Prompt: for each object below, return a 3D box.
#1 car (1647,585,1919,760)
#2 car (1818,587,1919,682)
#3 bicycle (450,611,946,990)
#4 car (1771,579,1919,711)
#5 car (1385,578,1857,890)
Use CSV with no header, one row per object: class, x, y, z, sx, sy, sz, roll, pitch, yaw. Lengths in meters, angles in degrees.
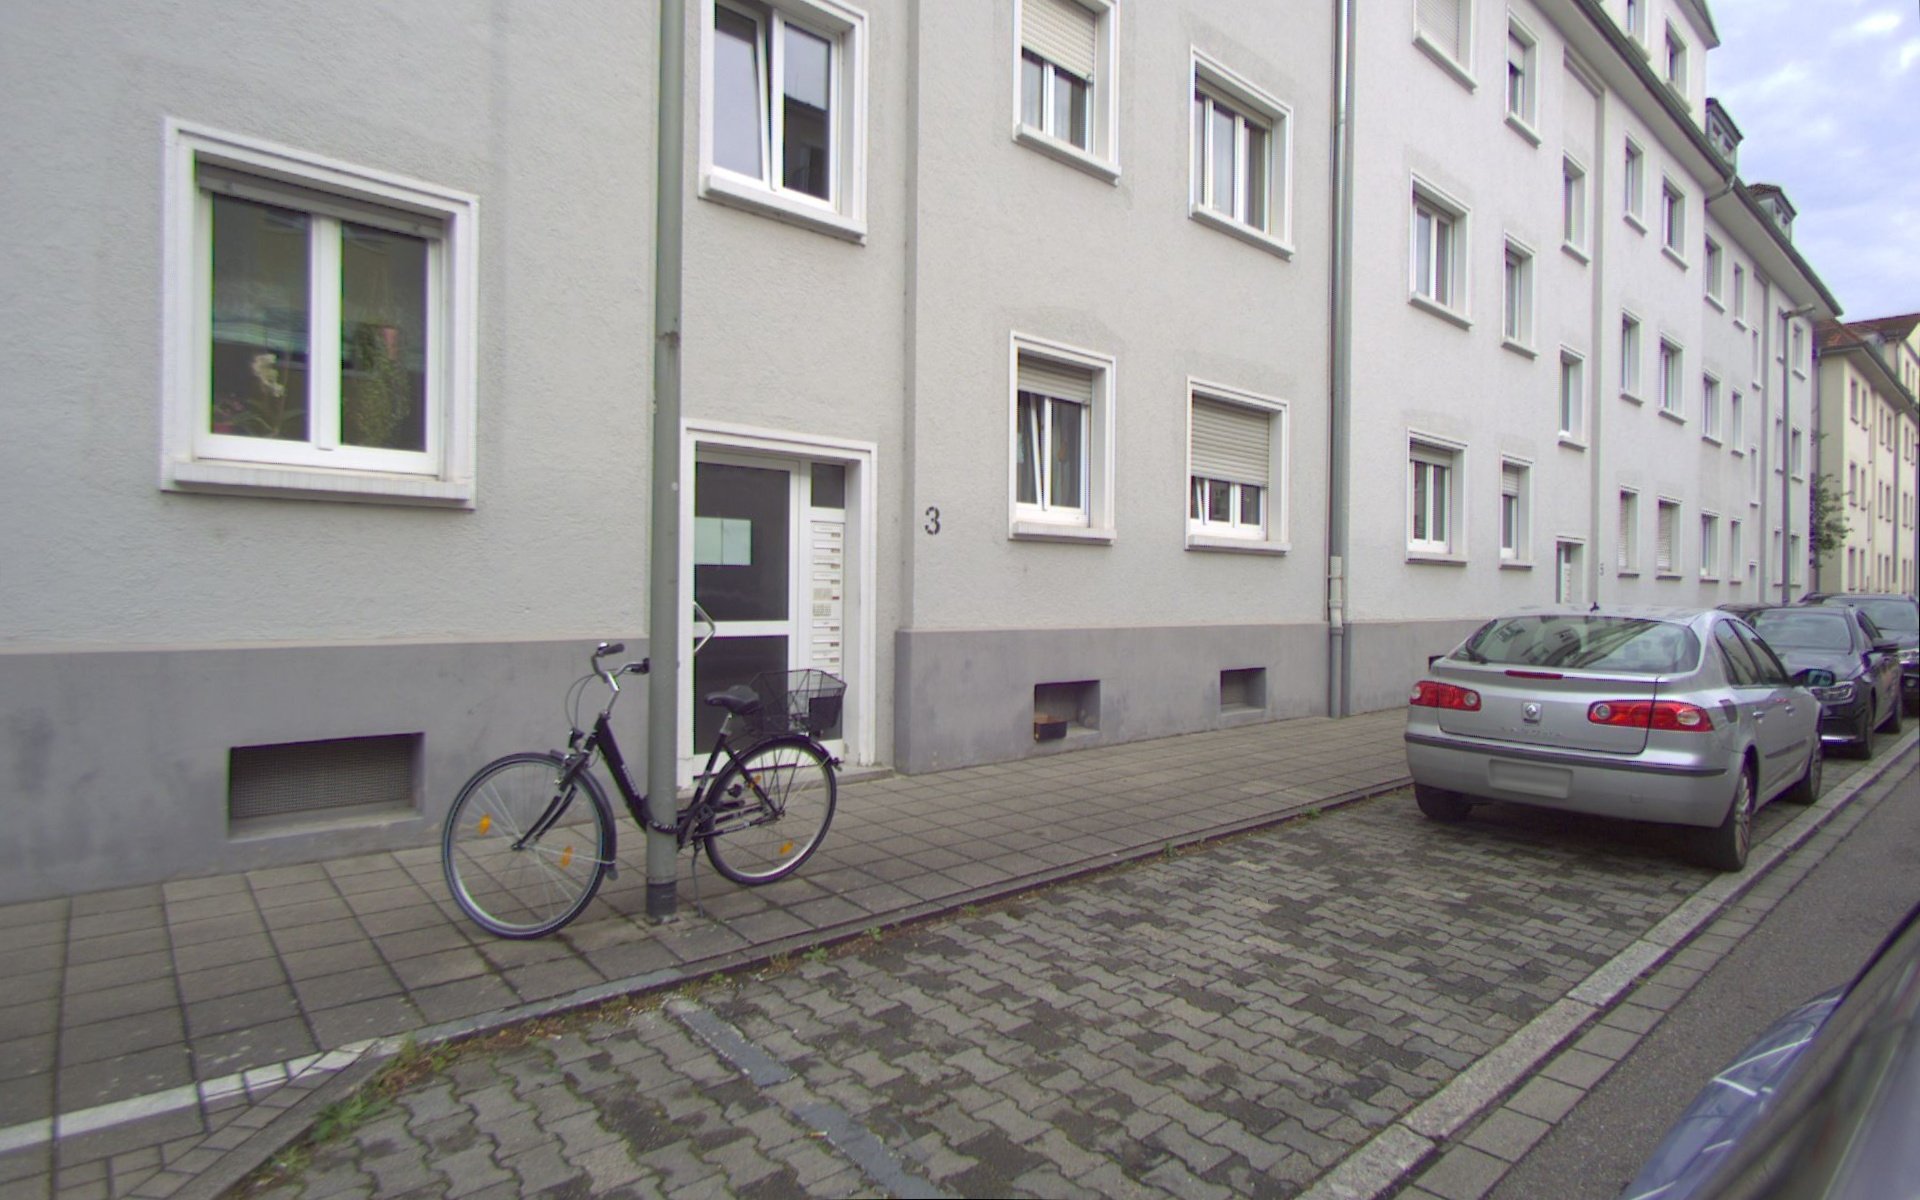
car,8.978,0.619,10.833,4.250,1.481,1.784,0,1,-43
car,16.595,0.563,17.846,3.691,1.505,1.735,0,1,-42
bicycle,-1.026,0.678,4.265,1.862,1.215,0.750,1,2,-41
car,13.048,0.557,14.346,4.090,1.619,1.850,0,1,-43
car,4.762,0.634,6.987,4.356,1.481,1.734,0,1,-43
